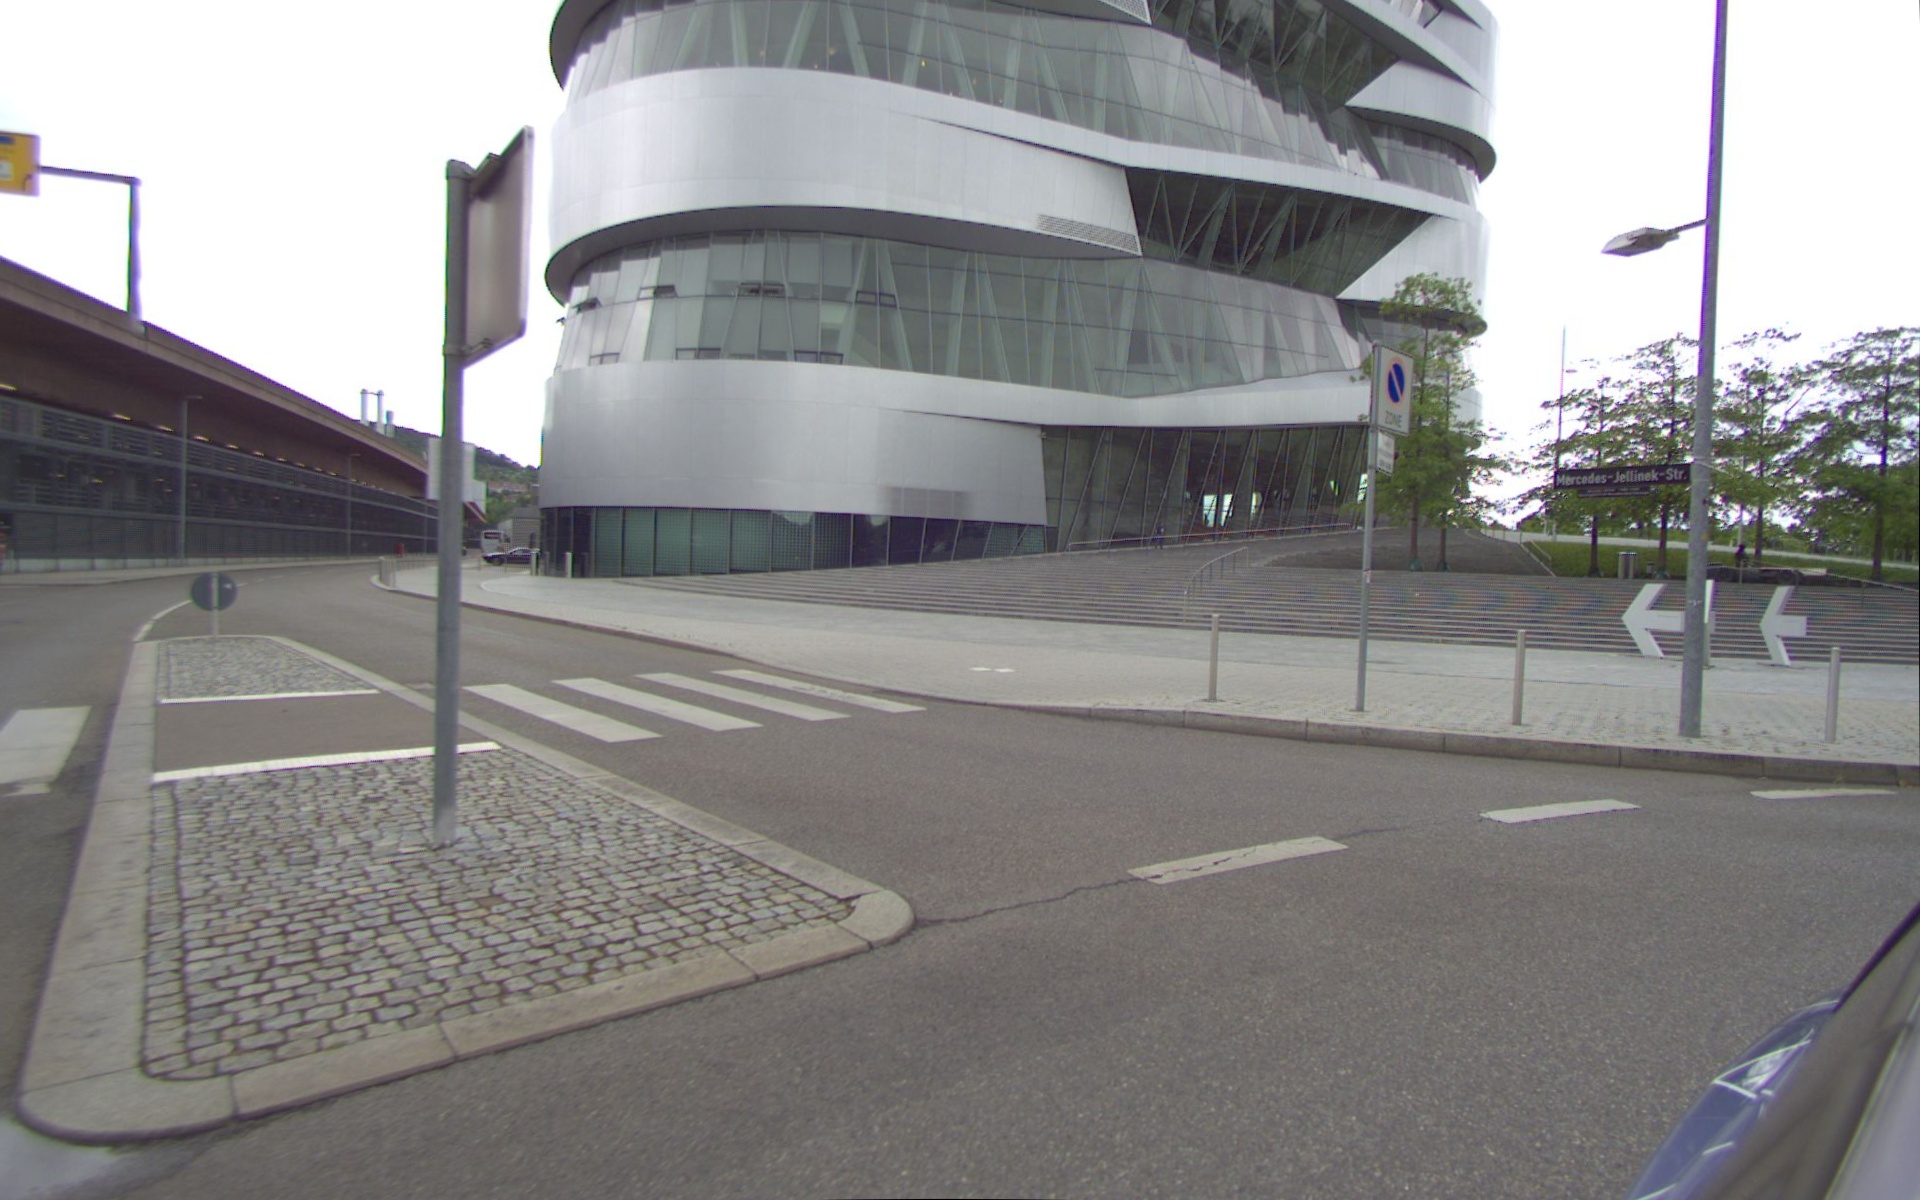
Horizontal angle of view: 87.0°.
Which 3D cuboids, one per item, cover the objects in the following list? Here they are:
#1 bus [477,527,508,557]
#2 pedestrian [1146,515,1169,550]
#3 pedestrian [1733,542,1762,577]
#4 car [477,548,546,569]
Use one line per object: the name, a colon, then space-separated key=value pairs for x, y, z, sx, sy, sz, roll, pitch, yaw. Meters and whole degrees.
bus: x=-57.902 y=-7.110 z=125.510 sx=2.870 sy=3.484 sz=6.984 roll=2 pitch=1 yaw=-21
pedestrian: x=11.259 y=-3.851 z=57.764 sx=0.933 sy=1.948 sz=0.854 roll=-3 pitch=3 yaw=-28
pedestrian: x=33.026 y=-1.701 z=42.441 sx=0.784 sy=1.404 sz=0.676 roll=3 pitch=1 yaw=28
car: x=-35.254 y=-3.222 z=79.693 sx=4.803 sy=1.415 sz=1.539 roll=2 pitch=1 yaw=-17
